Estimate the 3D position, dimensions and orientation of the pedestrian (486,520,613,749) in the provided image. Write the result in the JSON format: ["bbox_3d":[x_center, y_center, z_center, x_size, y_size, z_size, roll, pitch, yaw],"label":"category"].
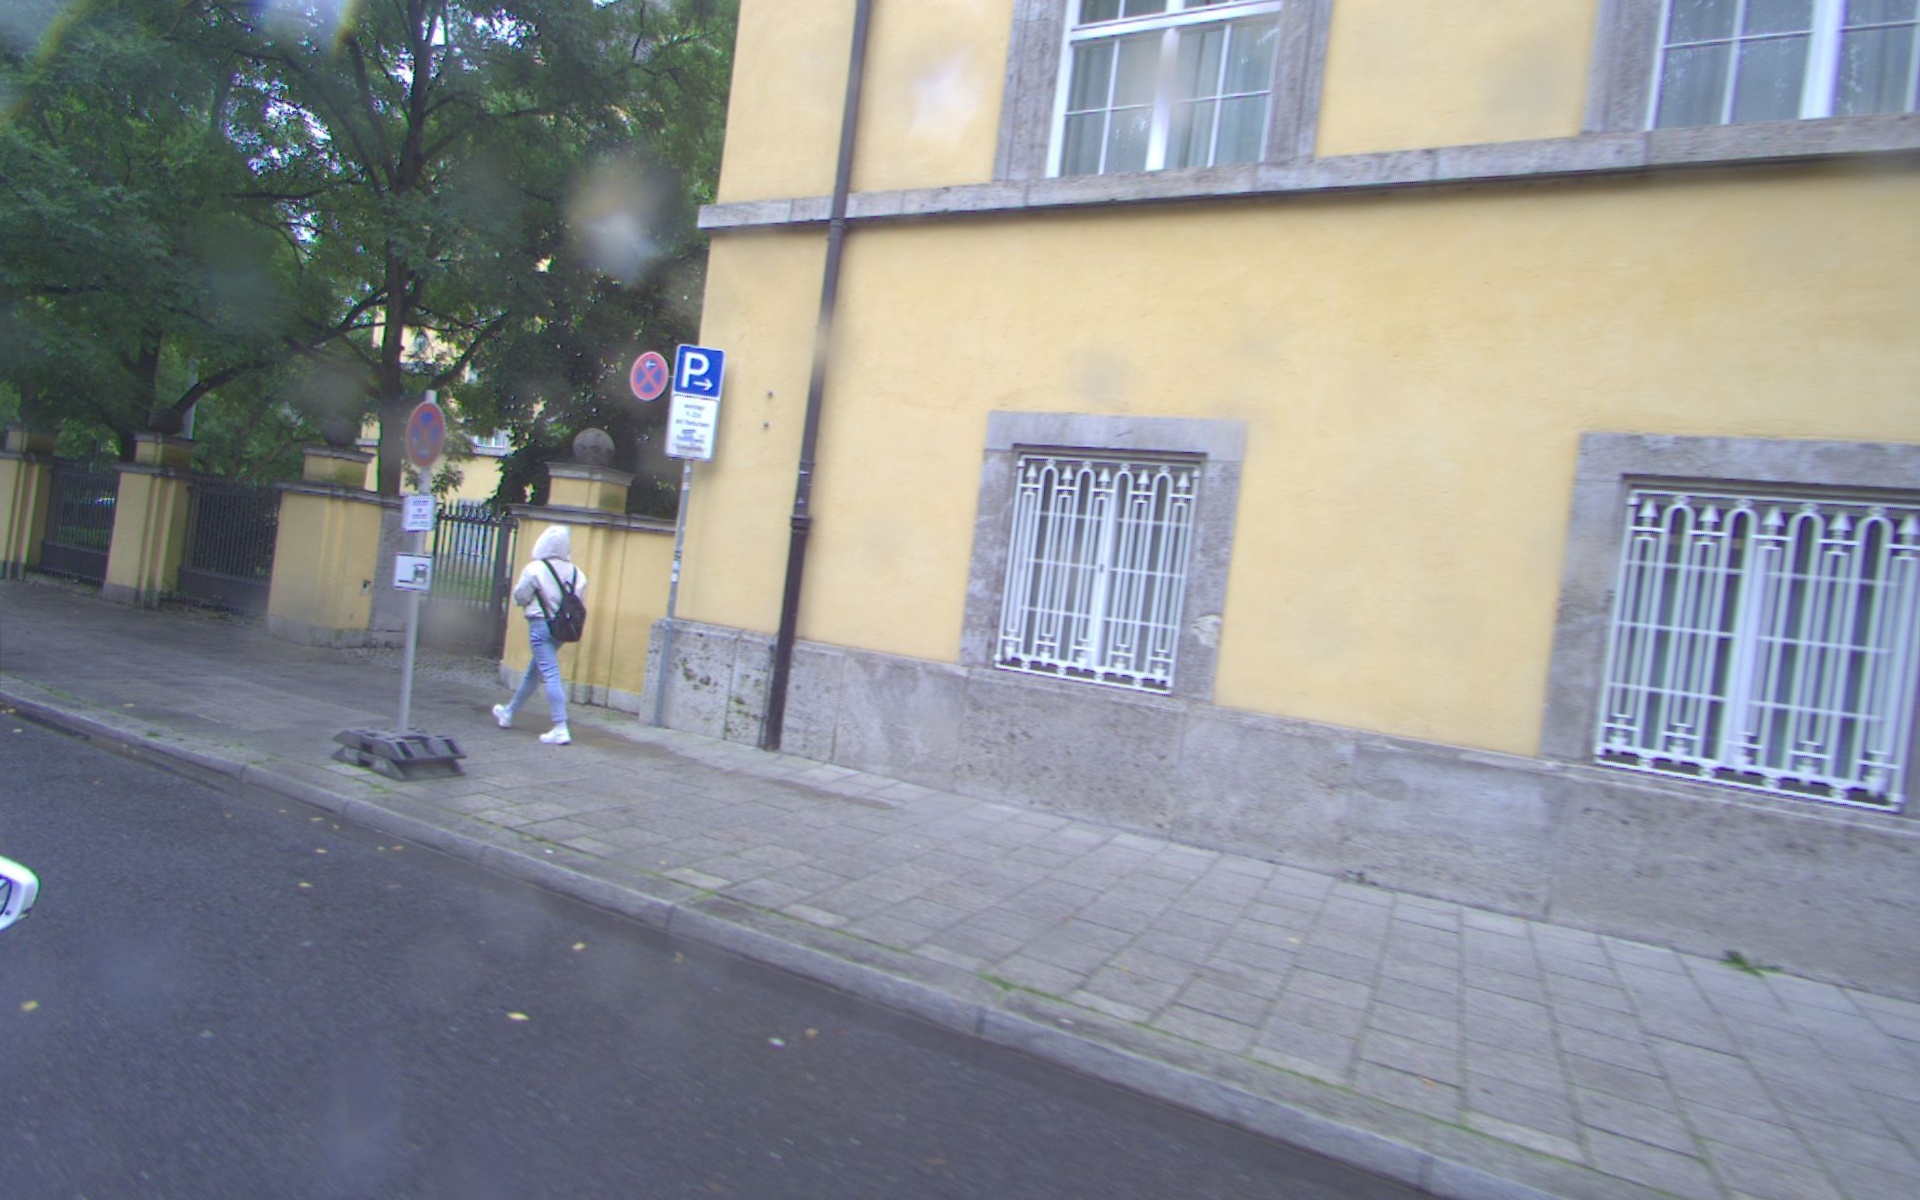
[{"bbox_3d":[-3.181,0.258,7.806,0.561,1.659,0.561,7,3,26],"label":"pedestrian"}]
